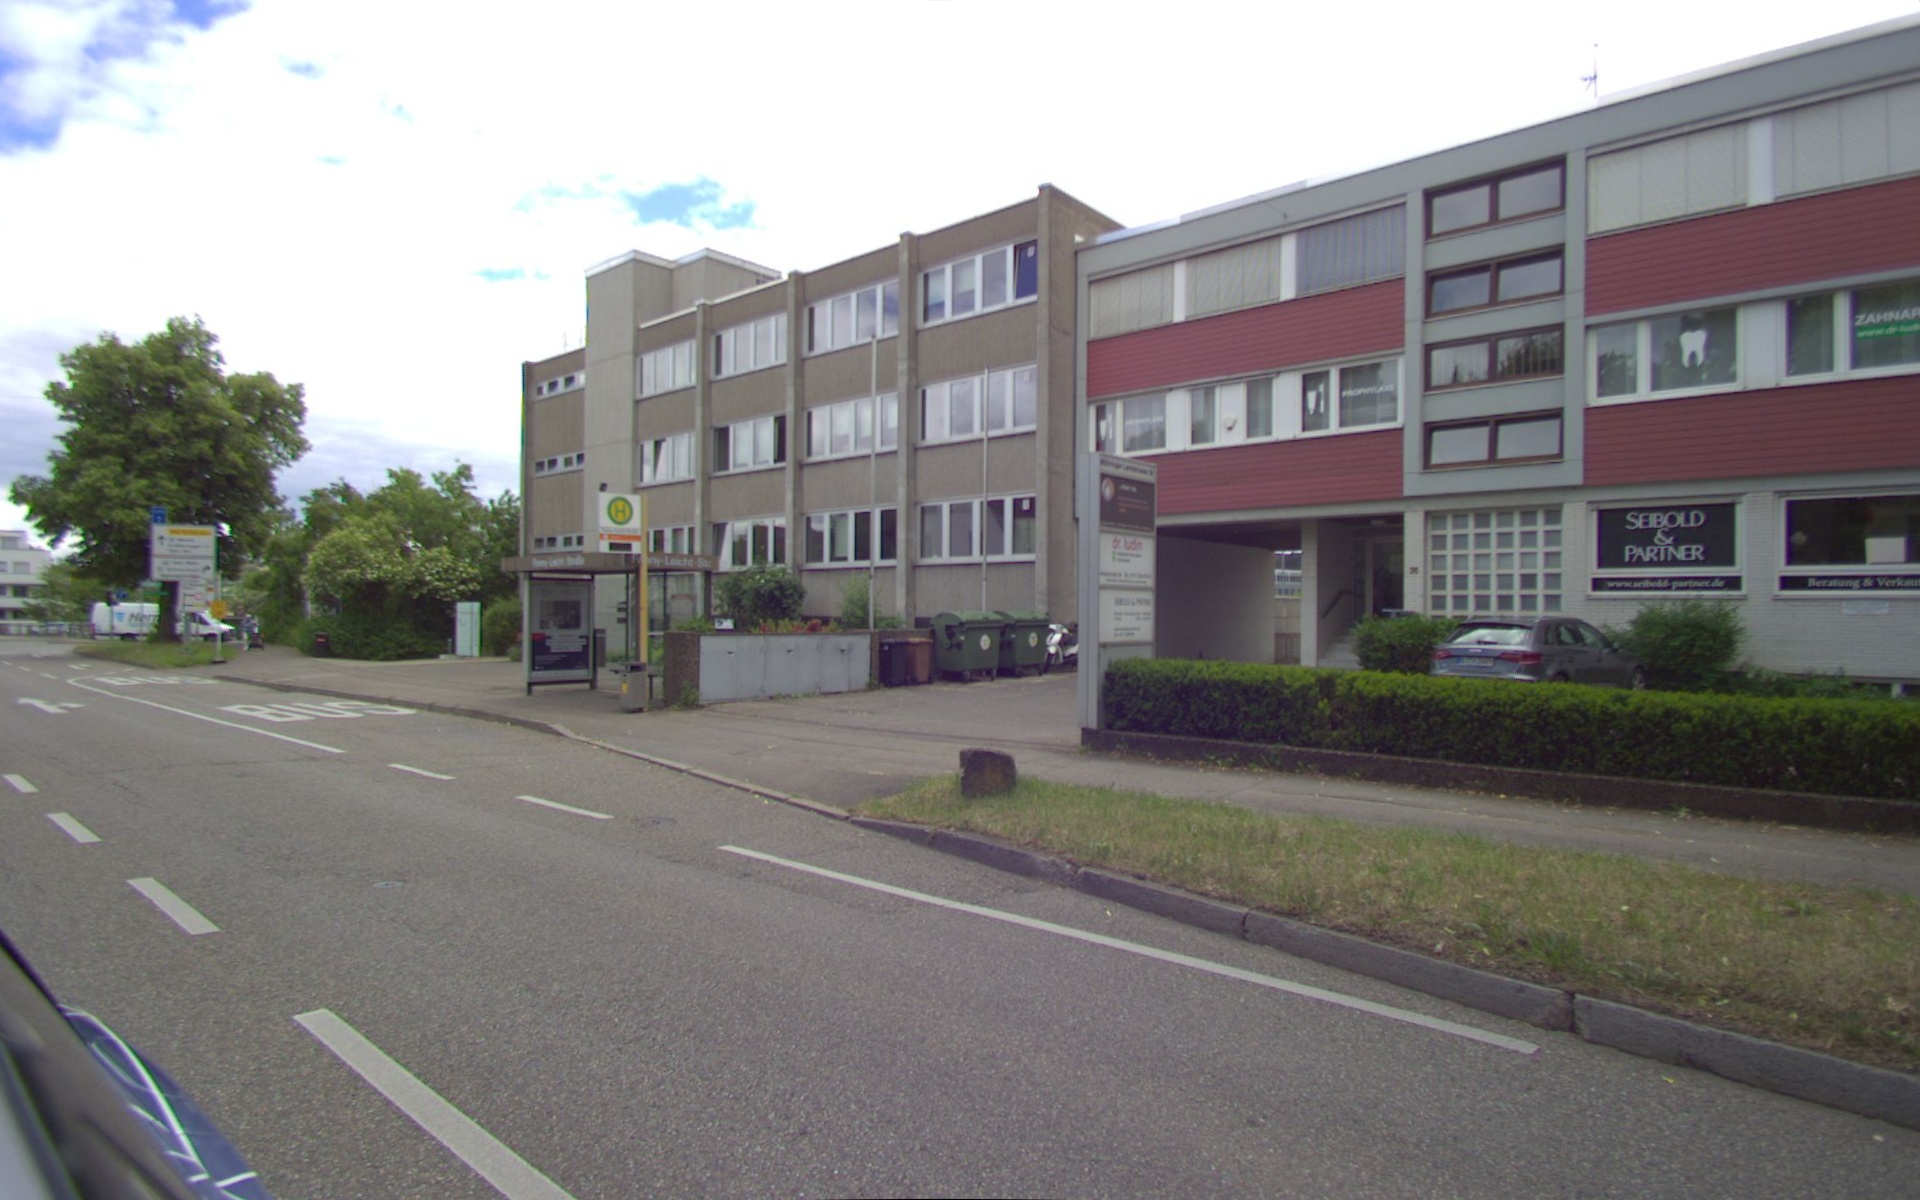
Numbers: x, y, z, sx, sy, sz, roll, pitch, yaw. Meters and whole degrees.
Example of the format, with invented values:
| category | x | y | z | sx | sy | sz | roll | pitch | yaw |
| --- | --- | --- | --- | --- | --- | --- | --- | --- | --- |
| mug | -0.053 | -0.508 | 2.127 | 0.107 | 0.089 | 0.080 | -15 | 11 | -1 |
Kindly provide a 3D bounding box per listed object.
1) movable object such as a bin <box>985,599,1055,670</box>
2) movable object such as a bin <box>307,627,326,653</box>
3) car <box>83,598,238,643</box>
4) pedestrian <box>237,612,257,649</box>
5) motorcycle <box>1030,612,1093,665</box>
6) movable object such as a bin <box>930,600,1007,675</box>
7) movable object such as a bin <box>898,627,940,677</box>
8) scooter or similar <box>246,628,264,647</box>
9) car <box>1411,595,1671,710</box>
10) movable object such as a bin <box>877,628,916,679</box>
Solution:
| category | x | y | z | sx | sy | sz | roll | pitch | yaw |
| --- | --- | --- | --- | --- | --- | --- | --- | --- | --- |
| movable object such as a bin | 1.324 | 0.728 | 22.187 | 0.884 | 1.476 | 1.347 | 0 | 0 | 41 |
| movable object such as a bin | -23.380 | 1.451 | 36.770 | 0.558 | 0.934 | 0.609 | 0 | 0 | -33 |
| car | -50.359 | 1.256 | 63.968 | 7.317 | 2.665 | 2.205 | -1 | 0 | -21 |
| pedestrian | -31.062 | 1.315 | 44.082 | 0.662 | 1.570 | 0.521 | -1 | 0 | -32 |
| motorcycle | 2.377 | 0.877 | 23.520 | 0.639 | 1.148 | 1.624 | 0 | 0 | 41 |
| movable object such as a bin | 0.184 | 0.746 | 20.949 | 0.992 | 1.476 | 1.285 | 0 | 0 | 41 |
| movable object such as a bin | -0.813 | 1.017 | 20.052 | 0.562 | 0.946 | 0.626 | 0 | 0 | 41 |
| scooter or similar | -30.311 | 1.604 | 43.536 | 0.598 | 0.792 | 0.861 | -1 | 0 | -32 |
| car | 8.808 | 0.686 | 15.250 | 4.082 | 1.490 | 1.817 | -1 | 0 | -35 |
| movable object such as a bin | -1.228 | 1.032 | 19.587 | 0.562 | 0.946 | 0.510 | 0 | 0 | 41 |
